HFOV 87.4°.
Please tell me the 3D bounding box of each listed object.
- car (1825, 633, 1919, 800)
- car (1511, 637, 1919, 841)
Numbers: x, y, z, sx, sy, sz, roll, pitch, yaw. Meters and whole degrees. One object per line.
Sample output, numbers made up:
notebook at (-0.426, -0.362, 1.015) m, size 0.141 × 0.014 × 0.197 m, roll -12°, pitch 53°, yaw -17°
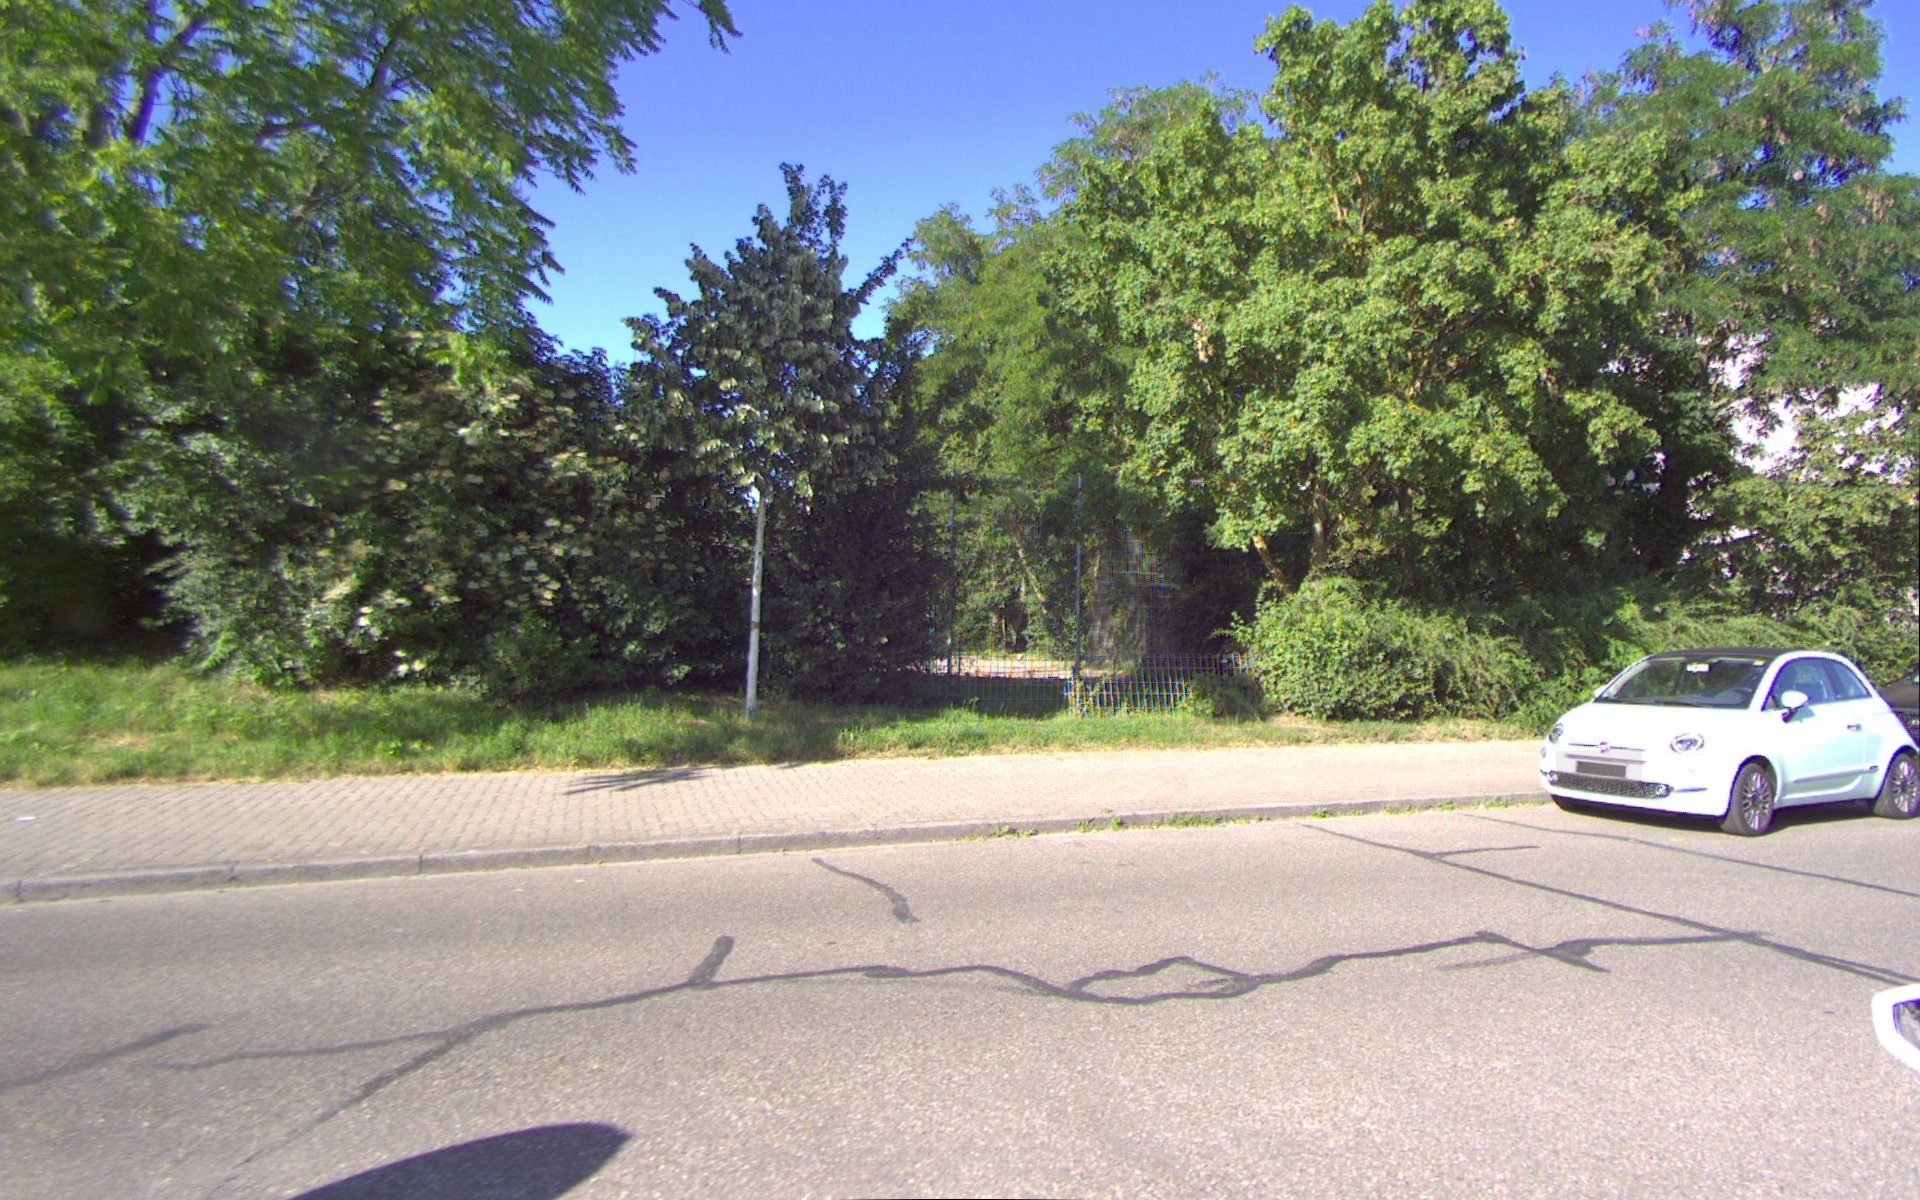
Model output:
car at (11.522, 1.203, 10.632) m, size 4.184 × 1.660 × 1.673 m, roll 1°, pitch -3°, yaw -19°
car at (6.900, 1.133, 9.149) m, size 3.372 × 1.547 × 1.622 m, roll 2°, pitch -2°, yaw -25°
